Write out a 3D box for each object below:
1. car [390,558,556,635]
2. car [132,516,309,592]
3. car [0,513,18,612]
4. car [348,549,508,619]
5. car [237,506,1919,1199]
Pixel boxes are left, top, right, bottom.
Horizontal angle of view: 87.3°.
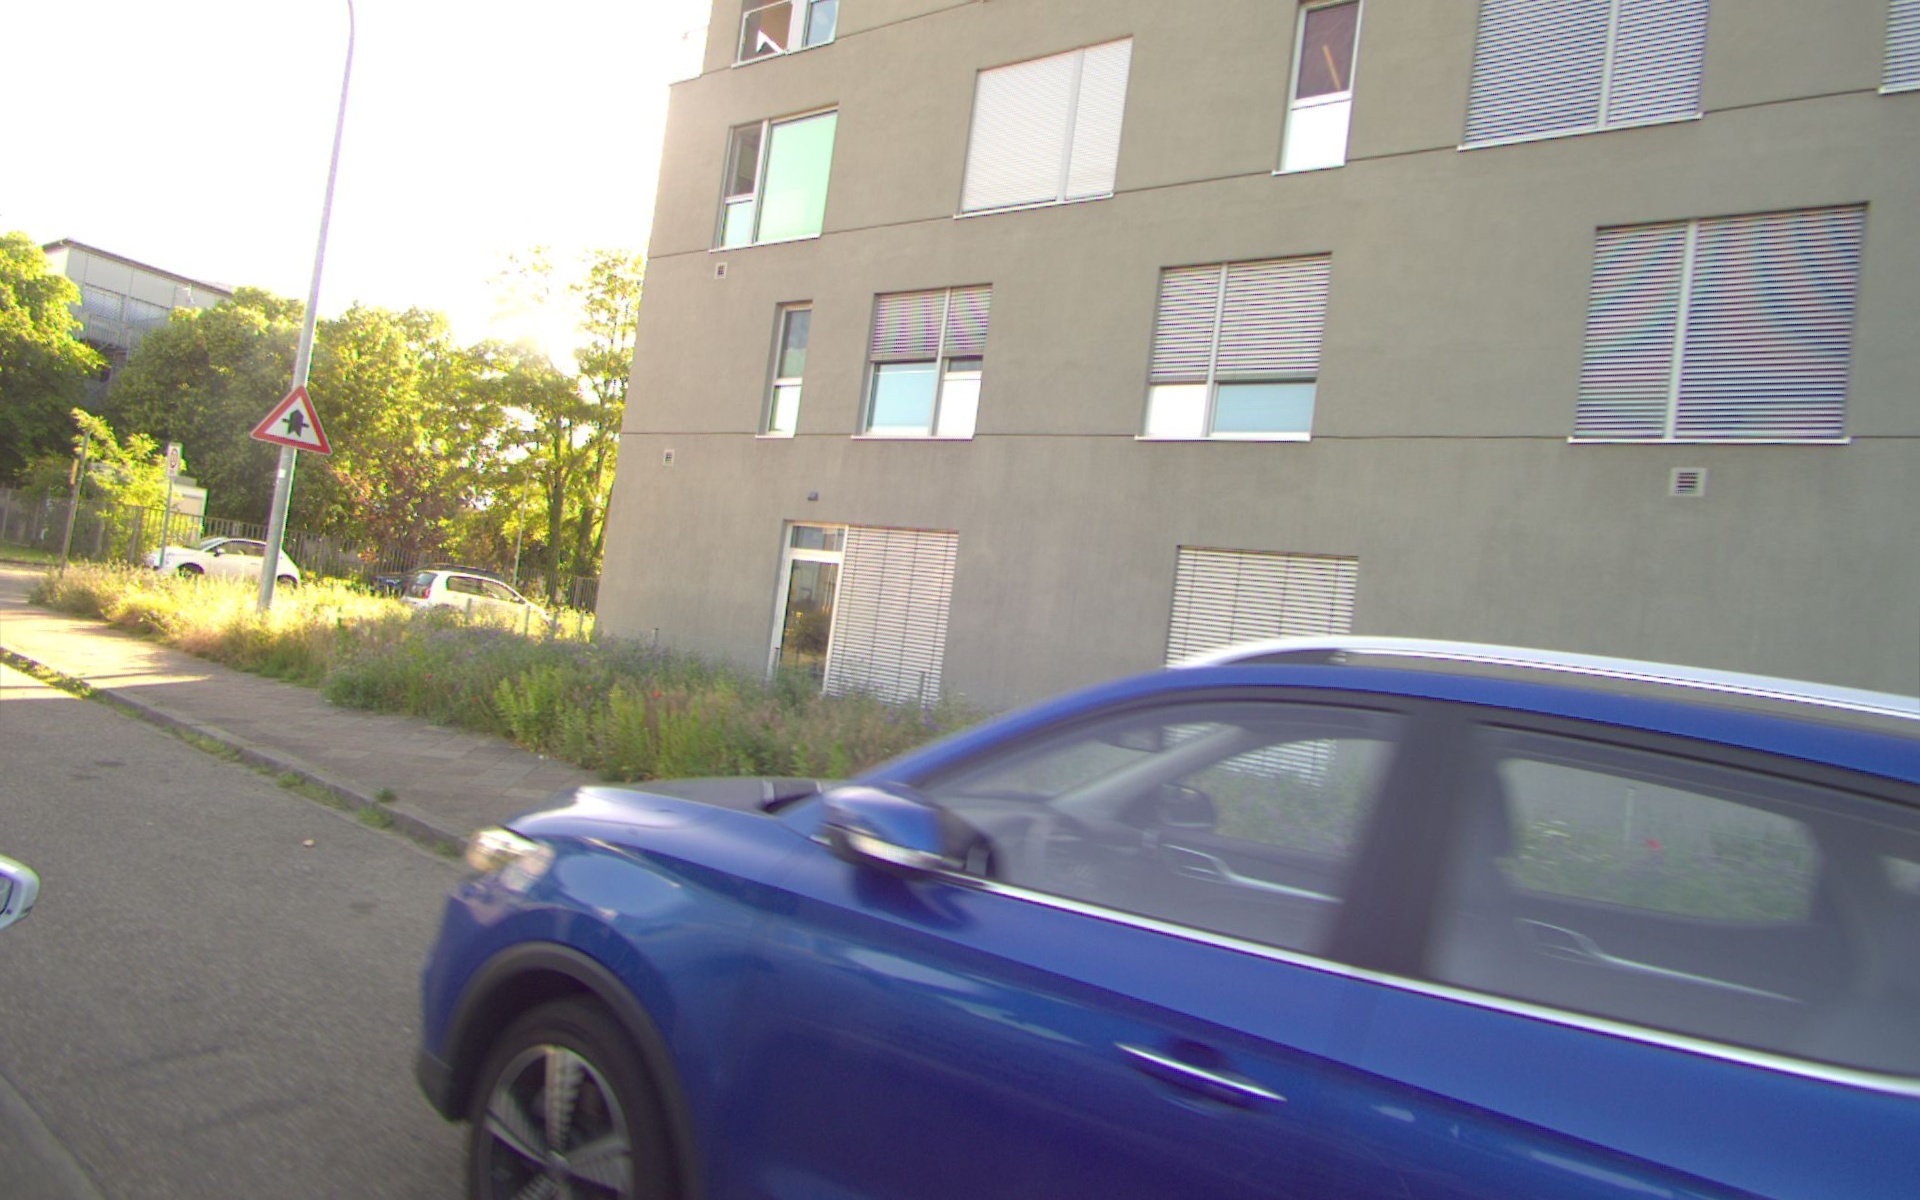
[{"bbox_3d":[-12.495,-0.059,25.942,1.689,1.474,3.329,6,-3,37],"label":"car"},{"bbox_3d":[-20.591,-1.236,28.155,1.574,1.502,3.553,7,-3,33],"label":"car"},{"bbox_3d":[-12.596,-0.498,11.234,4.379,1.515,1.824,6,-4,32],"label":"car"},{"bbox_3d":[-17.229,-0.480,32.751,1.727,1.655,4.160,6,-3,33],"label":"car"},{"bbox_3d":[0.673,0.901,2.152,4.551,1.616,1.823,6,-4,32],"label":"car"}]
